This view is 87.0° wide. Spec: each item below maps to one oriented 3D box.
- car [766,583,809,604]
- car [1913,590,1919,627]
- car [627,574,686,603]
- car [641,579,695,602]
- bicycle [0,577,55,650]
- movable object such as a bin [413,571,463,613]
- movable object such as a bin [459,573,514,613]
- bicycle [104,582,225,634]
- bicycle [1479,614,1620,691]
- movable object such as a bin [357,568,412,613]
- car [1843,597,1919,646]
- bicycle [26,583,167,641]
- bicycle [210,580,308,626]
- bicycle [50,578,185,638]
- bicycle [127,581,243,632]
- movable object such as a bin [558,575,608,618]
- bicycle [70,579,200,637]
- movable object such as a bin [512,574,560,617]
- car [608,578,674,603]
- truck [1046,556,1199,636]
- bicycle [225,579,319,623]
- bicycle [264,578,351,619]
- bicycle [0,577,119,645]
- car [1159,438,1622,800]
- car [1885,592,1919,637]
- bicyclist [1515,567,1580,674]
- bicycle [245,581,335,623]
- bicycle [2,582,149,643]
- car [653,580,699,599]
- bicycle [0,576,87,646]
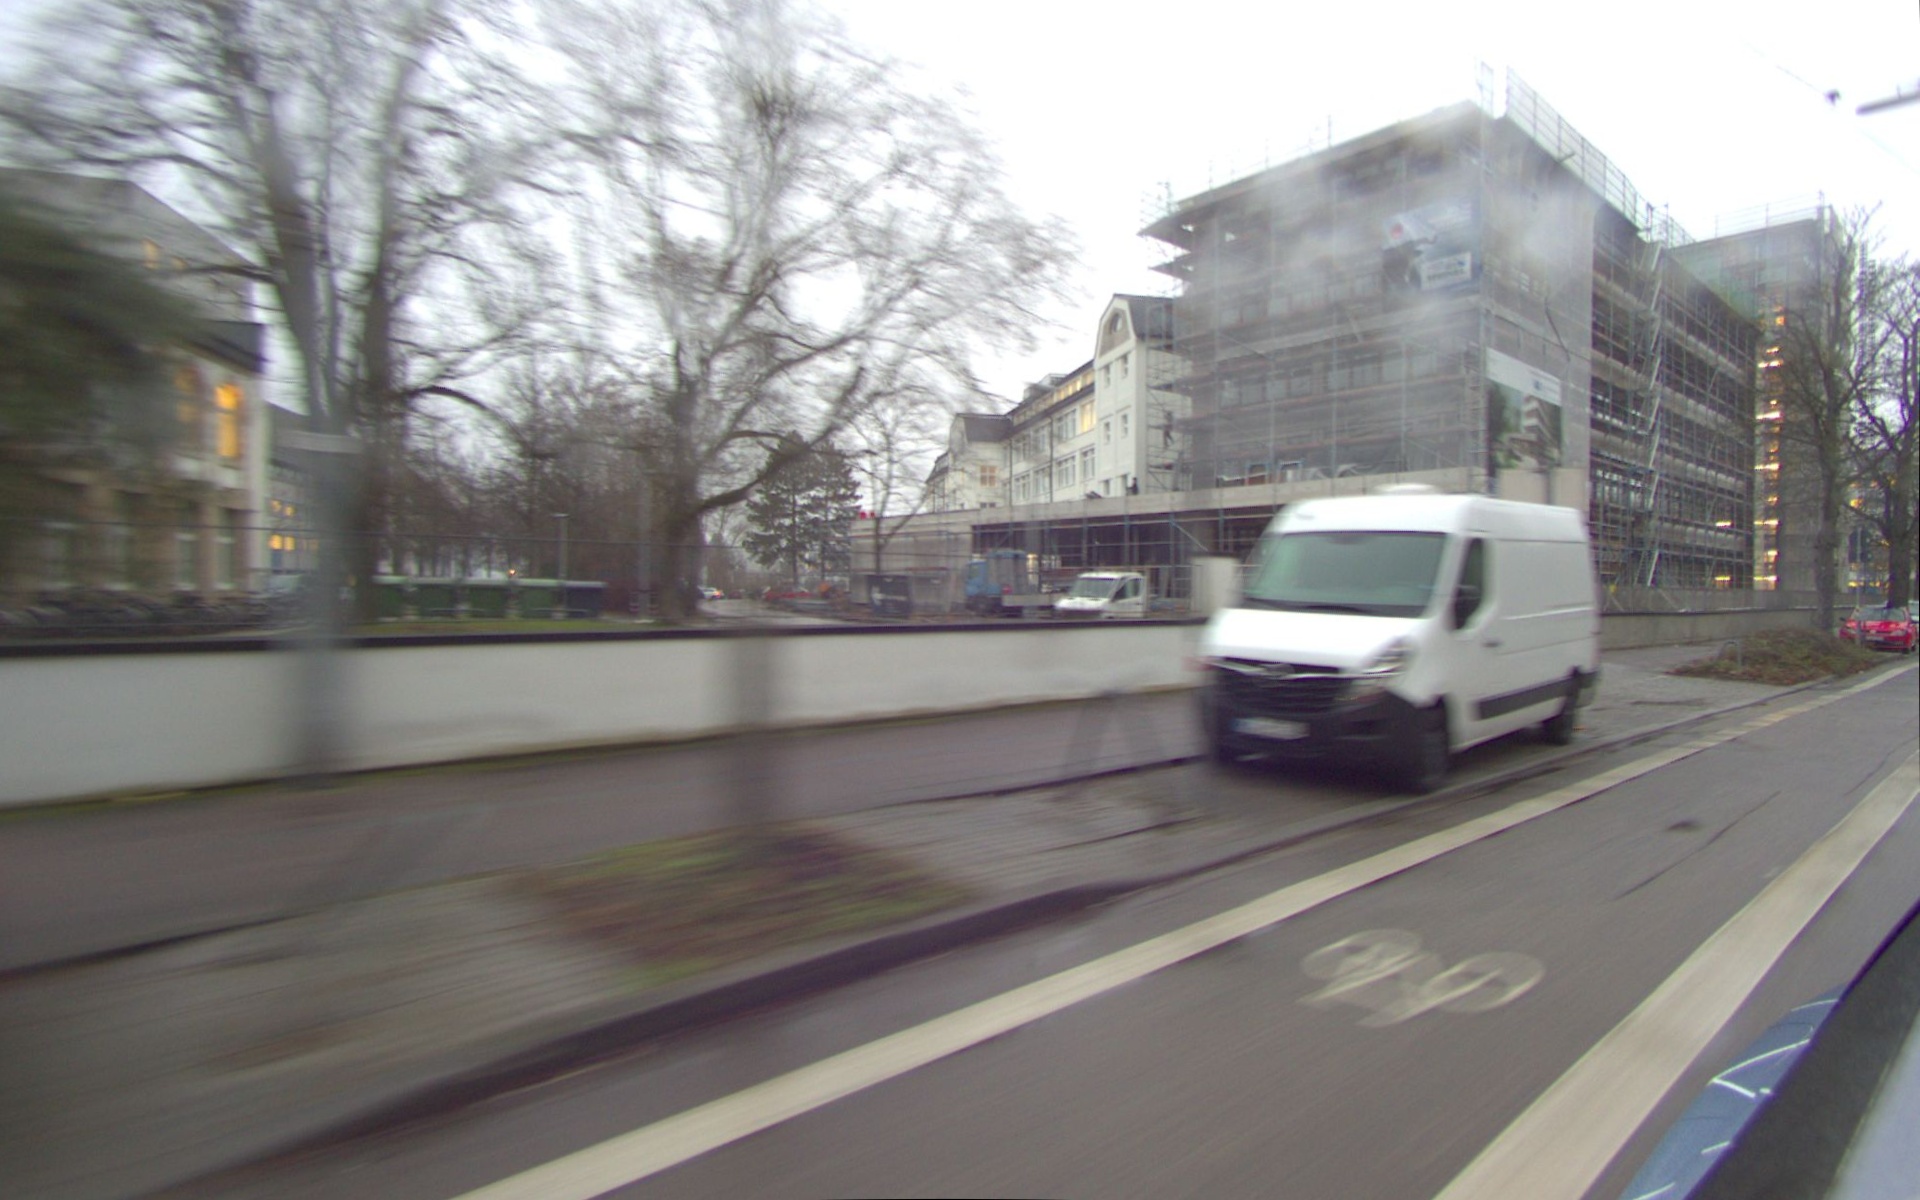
[{"bbox_3d":[-13.826,-0.526,80.971,3.240,1.542,1.708,1,0,-15],"label":"car"},{"bbox_3d":[43.433,0.393,44.398,3.928,1.614,1.866,1,1,-39],"label":"car"},{"bbox_3d":[-22.098,-0.861,73.927,3.917,2.017,2.004,1,0,-11],"label":"car"},{"bbox_3d":[-23.252,-0.774,80.622,3.917,1.683,2.004,1,1,-11],"label":"car"},{"bbox_3d":[-16.180,0.196,16.520,2.097,1.171,0.574,1,0,-10],"label":"bicycle"},{"bbox_3d":[-16.339,-0.248,31.705,1.225,1.296,0.990,1,0,-18],"label":"movable object such as a bin"},{"bbox_3d":[-14.904,-0.223,31.895,1.408,1.240,0.990,1,0,-18],"label":"movable object such as a bin"},{"bbox_3d":[-17.744,0.177,22.615,2.097,1.106,0.574,1,0,-10],"label":"bicycle"},{"bbox_3d":[9.750,0.832,16.785,1.888,1.147,0.719,2,1,45],"label":"bicycle"},{"bbox_3d":[-17.557,-0.288,30.907,1.237,1.330,0.990,1,0,-18],"label":"movable object such as a bin"},{"bbox_3d":[29.031,0.650,31.489,3.669,1.404,1.752,1,1,-40],"label":"car"},{"bbox_3d":[-17.169,0.231,20.158,2.097,1.029,0.574,3,0,-10],"label":"bicycle"},{"bbox_3d":[-18.805,0.084,27.165,2.097,1.171,0.574,1,0,-10],"label":"bicycle"},{"bbox_3d":[-17.291,0.159,20.804,2.097,1.171,0.574,1,0,-10],"label":"bicycle"},{"bbox_3d":[-17.965,0.148,23.503,2.097,1.124,0.574,1,0,-10],"label":"bicycle"},{"bbox_3d":[-12.182,-0.108,32.713,1.297,1.333,1.064,2,0,-30],"label":"movable object such as a bin"},{"bbox_3d":[-17.424,0.167,21.411,2.097,1.171,0.574,1,0,-10],"label":"bicycle"},{"bbox_3d":[-13.516,-0.149,32.297,1.280,1.330,0.990,1,0,-18],"label":"movable object such as a bin"},{"bbox_3d":[-21.355,-0.630,67.997,4.093,1.497,2.003,1,-2,-14],"label":"car"},{"bbox_3d":[6.055,-0.240,36.842,2.124,2.620,6.976,1,2,41],"label":"truck"},{"bbox_3d":[-19.035,0.036,28.027,2.097,1.171,0.574,1,0,-10],"label":"bicycle"},{"bbox_3d":[-19.312,-0.049,29.975,2.097,1.171,0.574,1,0,-10],"label":"bicycle"},{"bbox_3d":[-16.574,0.197,18.276,2.097,1.171,0.574,1,0,-10],"label":"bicycle"},{"bbox_3d":[4.359,0.123,9.666,5.348,2.518,2.126,1,1,-44],"label":"car"},{"bbox_3d":[35.671,0.530,37.364,3.669,1.604,1.752,1,1,-40],"label":"car"},{"bbox_3d":[9.744,0.322,16.789,0.769,1.710,0.696,1,0,44],"label":"bicyclist"},{"bbox_3d":[-19.177,0.059,29.001,2.097,1.171,0.574,1,0,-10],"label":"bicycle"},{"bbox_3d":[-17.025,0.235,19.520,2.097,1.063,0.574,3,0,-10],"label":"bicycle"},{"bbox_3d":[-26.318,-0.982,93.888,3.917,1.683,2.004,1,1,-11],"label":"car"},{"bbox_3d":[-16.382,0.180,17.364,2.097,1.171,0.574,1,0,-10],"label":"bicycle"}]
